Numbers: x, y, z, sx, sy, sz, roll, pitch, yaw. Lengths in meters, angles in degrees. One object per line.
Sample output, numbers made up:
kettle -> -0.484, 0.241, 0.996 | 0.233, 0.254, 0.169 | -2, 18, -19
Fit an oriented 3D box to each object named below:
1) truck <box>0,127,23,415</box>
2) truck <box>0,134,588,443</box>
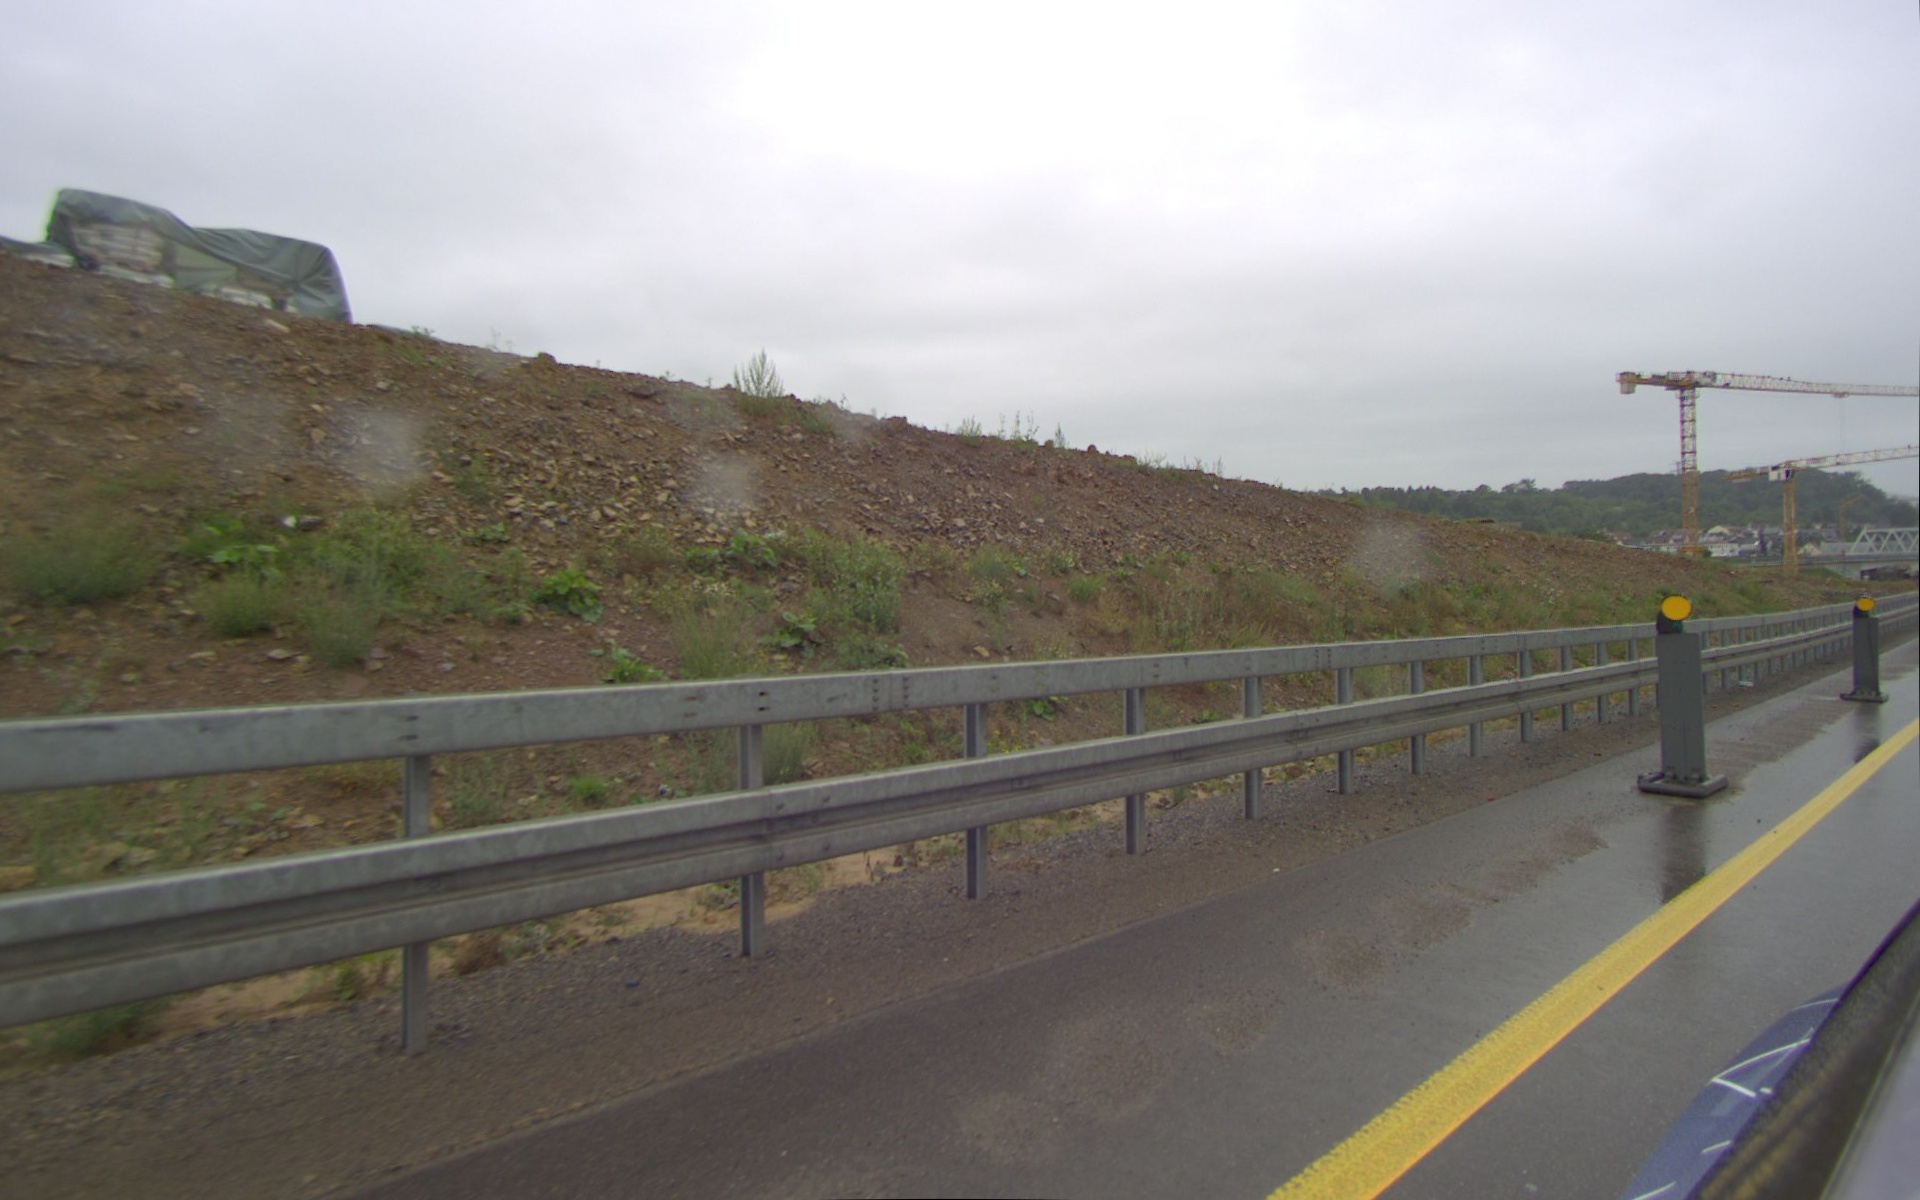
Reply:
truck -> -18.151, -5.328, 15.164 | 5.877, 4.270, 2.377 | -2, 2, -42
truck -> -10.705, -4.350, 15.464 | 8.801, 2.910, 3.403 | -2, 2, -39
